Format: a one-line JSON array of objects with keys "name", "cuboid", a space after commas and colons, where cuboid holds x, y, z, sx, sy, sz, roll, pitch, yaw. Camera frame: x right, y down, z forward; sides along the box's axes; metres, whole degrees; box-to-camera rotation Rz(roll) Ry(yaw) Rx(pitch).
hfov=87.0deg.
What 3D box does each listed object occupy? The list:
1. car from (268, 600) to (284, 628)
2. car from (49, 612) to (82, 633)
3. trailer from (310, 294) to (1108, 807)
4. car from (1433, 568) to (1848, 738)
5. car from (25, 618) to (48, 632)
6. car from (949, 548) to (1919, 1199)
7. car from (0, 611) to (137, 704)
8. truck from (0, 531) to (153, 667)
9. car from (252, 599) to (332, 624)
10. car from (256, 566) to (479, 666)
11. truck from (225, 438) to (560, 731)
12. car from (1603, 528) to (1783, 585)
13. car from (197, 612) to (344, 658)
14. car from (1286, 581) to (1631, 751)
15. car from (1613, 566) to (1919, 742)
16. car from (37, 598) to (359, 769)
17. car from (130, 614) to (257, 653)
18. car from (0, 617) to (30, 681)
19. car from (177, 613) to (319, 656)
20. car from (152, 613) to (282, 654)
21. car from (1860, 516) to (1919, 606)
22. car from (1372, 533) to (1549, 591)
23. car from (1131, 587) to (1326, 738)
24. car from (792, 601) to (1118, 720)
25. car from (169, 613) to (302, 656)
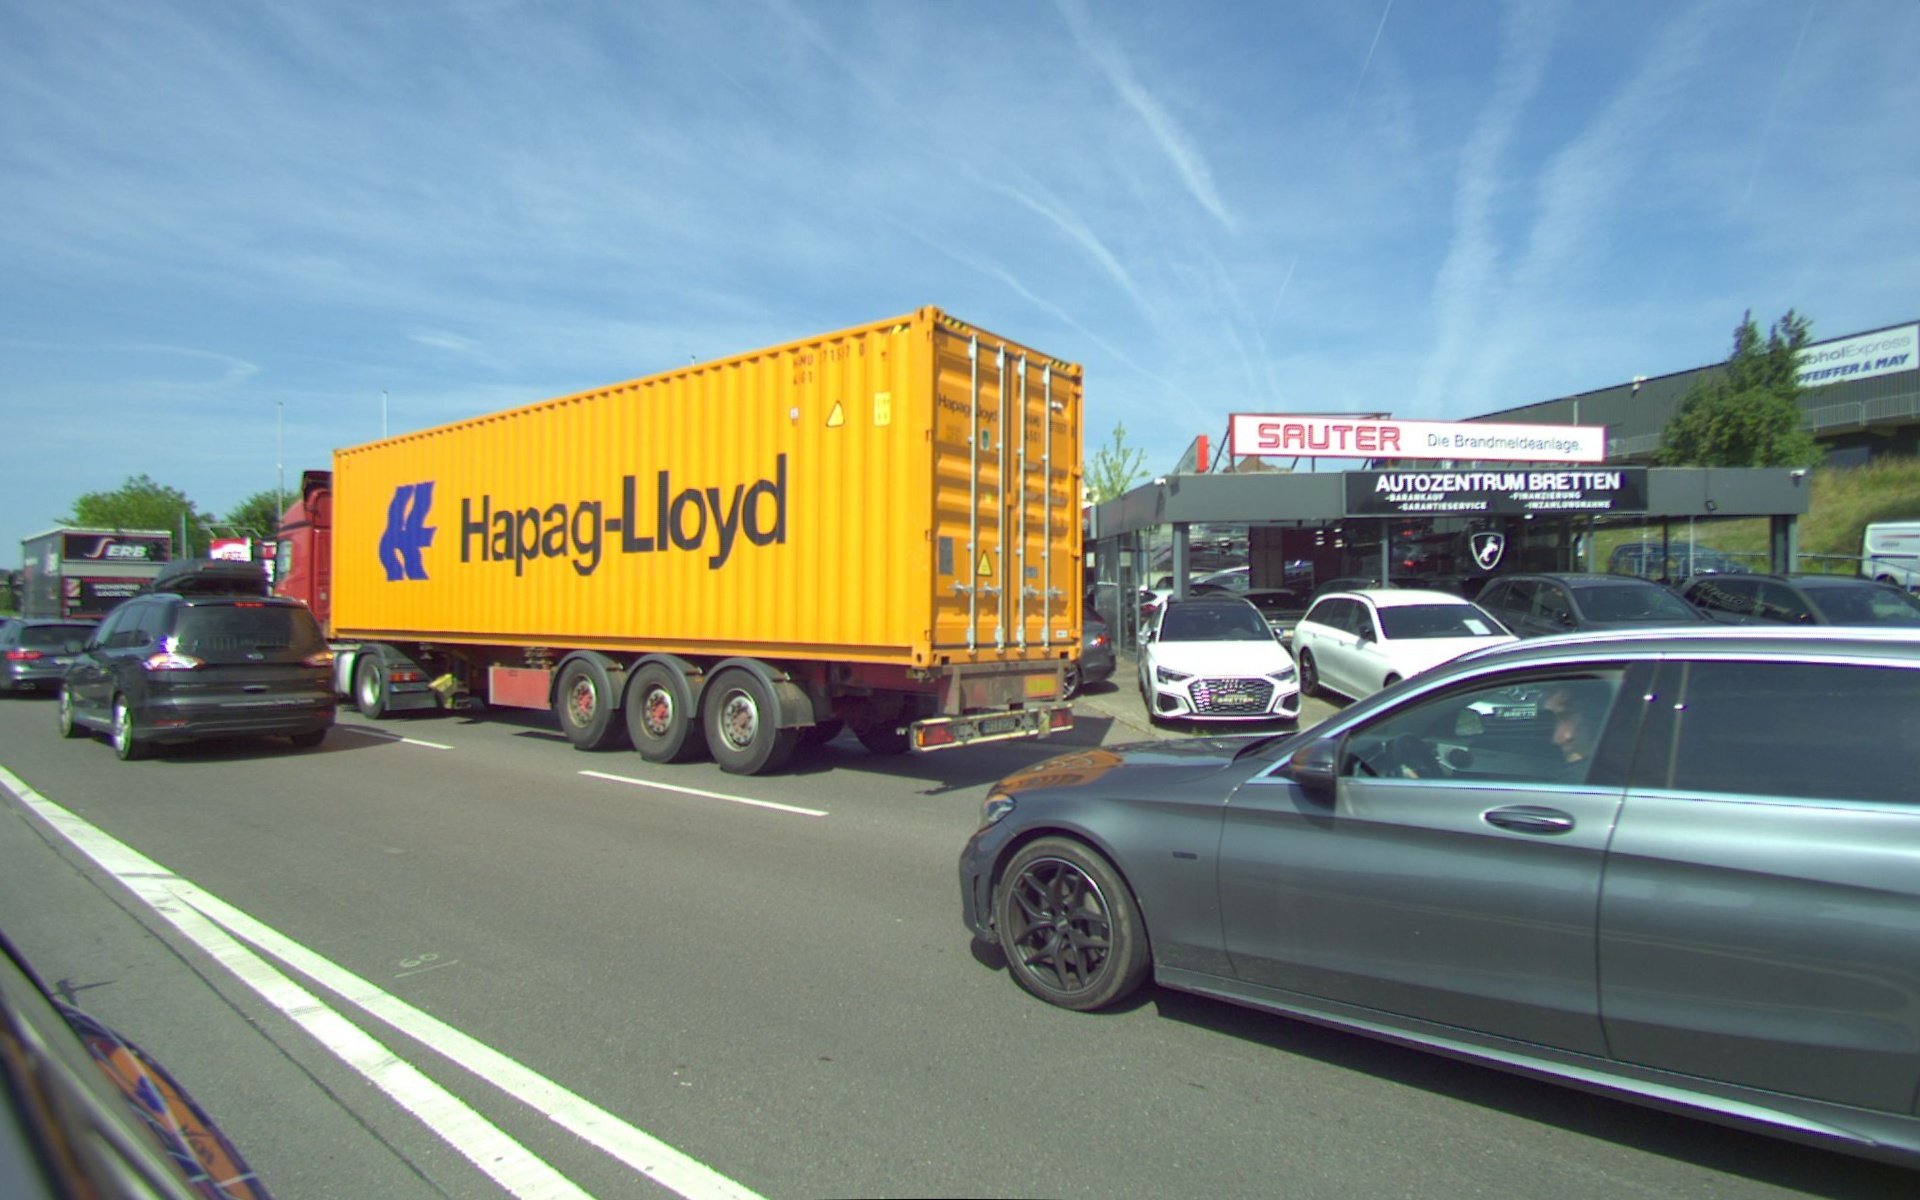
[{"name": "car", "cuboid": [-45.482, 0.941, 67.280, 0.868, 1.849, 0.847, -1, 0, -36]}, {"name": "car", "cuboid": [-69.674, 1.744, 78.795, 1.801, 1.538, 4.464, 2, -2, -42]}, {"name": "trailer", "cuboid": [-4.192, -0.334, 12.734, 12.214, 4.028, 2.695, -1, 0, 37]}, {"name": "car", "cuboid": [8.114, 0.470, 12.803, 1.905, 1.638, 4.799, -1, 3, -1]}, {"name": "car", "cuboid": [-101.805, 2.700, 111.516, 1.832, 1.471, 4.004, 0, 0, -43]}, {"name": "car", "cuboid": [2.330, 0.720, 3.309, 4.583, 1.614, 1.902, -2, -2, 39]}, {"name": "car", "cuboid": [-16.978, 1.003, 18.726, 4.584, 1.535, 1.843, -2, -2, 40]}, {"name": "truck", "cuboid": [-30.277, 0.027, 34.104, 9.963, 4.028, 2.685, -1, -1, 38]}, {"name": "car", "cuboid": [-47.258, 0.792, 71.686, 1.863, 1.666, 4.502, -1, 0, 22]}, {"name": "car", "cuboid": [-17.956, 0.443, 30.933, 2.177, 2.794, 5.506, -1, -1, 42]}, {"name": "truck", "cuboid": [-9.576, -0.185, 16.853, 6.047, 4.028, 2.695, -1, -1, 37]}, {"name": "car", "cuboid": [22.114, -1.304, 30.786, 1.970, 1.574, 4.514, -1, 2, -4]}, {"name": "car", "cuboid": [-24.187, 1.192, 35.612, 1.905, 1.465, 3.946, -1, 0, 41]}, {"name": "car", "cuboid": [5.779, 0.621, 12.535, 1.928, 1.524, 4.716, -2, 3, 0]}, {"name": "car", "cuboid": [10.390, 0.480, 12.108, 1.862, 1.637, 4.746, -2, 3, -3]}, {"name": "car", "cuboid": [-8.938, 0.854, 11.731, 4.583, 1.614, 1.890, -2, -2, 39]}, {"name": "car", "cuboid": [-31.841, 1.346, 42.113, 1.737, 1.504, 3.925, -1, 0, 38]}, {"name": "car", "cuboid": [-23.827, 1.134, 24.221, 4.375, 1.454, 1.694, -1, -2, 40]}, {"name": "car", "cuboid": [-26.217, 1.231, 37.336, 1.945, 1.463, 3.945, -1, 0, 41]}, {"name": "car", "cuboid": [-29.638, 1.309, 40.441, 1.756, 1.493, 3.943, -1, 0, 43]}, {"name": "car", "cuboid": [23.140, -0.869, 21.950, 2.037, 2.056, 5.521, -2, 3, -4]}, {"name": "car", "cuboid": [14.185, -1.073, 28.860, 4.012, 1.574, 2.001, 0, 2, -2]}, {"name": "car", "cuboid": [3.399, 0.683, 13.678, 1.870, 1.486, 4.707, -2, 3, 7]}, {"name": "car", "cuboid": [-0.140, 0.845, 15.295, 4.569, 1.447, 1.977, -2, 1, -6]}, {"name": "car", "cuboid": [-27.694, 1.265, 38.754, 1.949, 1.510, 3.826, -1, 0, 43]}]
